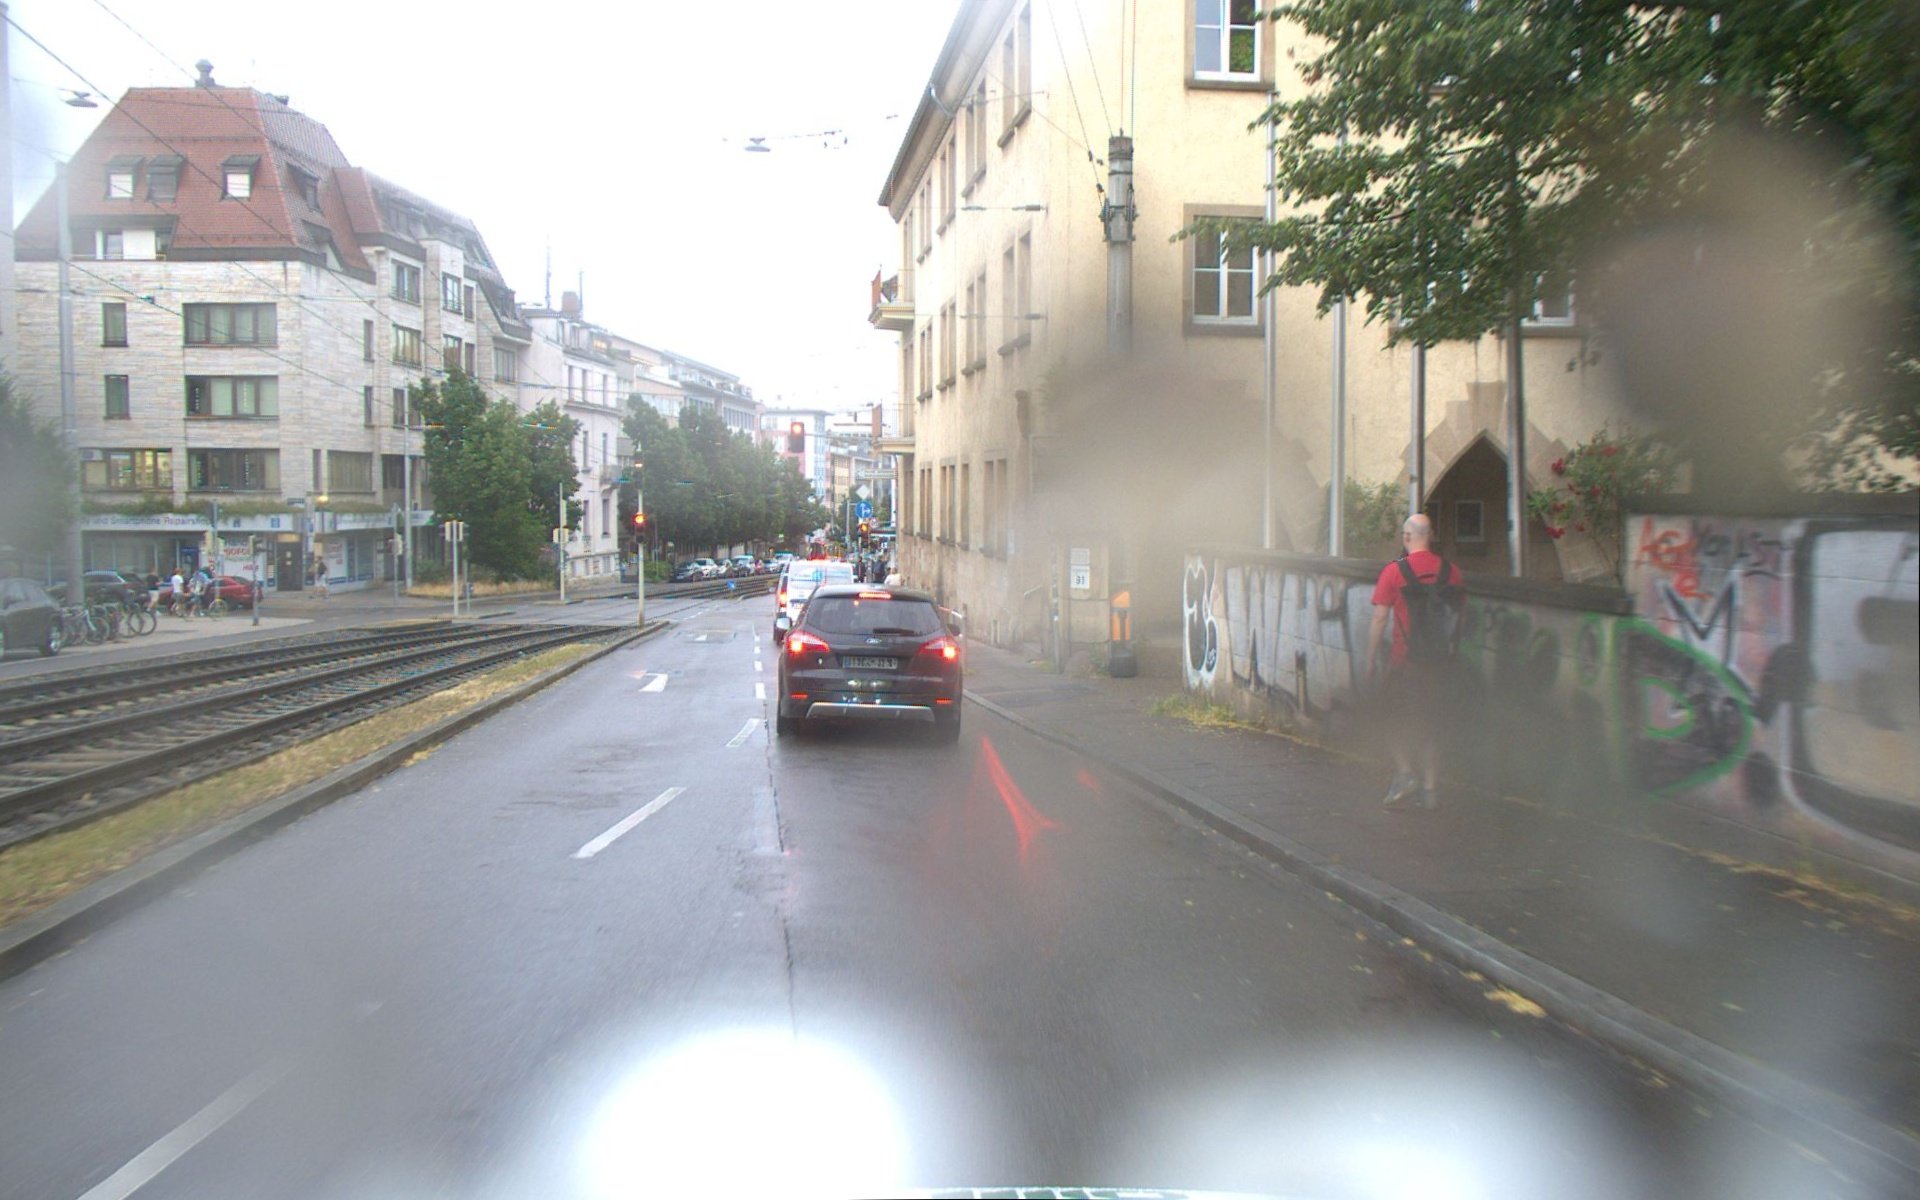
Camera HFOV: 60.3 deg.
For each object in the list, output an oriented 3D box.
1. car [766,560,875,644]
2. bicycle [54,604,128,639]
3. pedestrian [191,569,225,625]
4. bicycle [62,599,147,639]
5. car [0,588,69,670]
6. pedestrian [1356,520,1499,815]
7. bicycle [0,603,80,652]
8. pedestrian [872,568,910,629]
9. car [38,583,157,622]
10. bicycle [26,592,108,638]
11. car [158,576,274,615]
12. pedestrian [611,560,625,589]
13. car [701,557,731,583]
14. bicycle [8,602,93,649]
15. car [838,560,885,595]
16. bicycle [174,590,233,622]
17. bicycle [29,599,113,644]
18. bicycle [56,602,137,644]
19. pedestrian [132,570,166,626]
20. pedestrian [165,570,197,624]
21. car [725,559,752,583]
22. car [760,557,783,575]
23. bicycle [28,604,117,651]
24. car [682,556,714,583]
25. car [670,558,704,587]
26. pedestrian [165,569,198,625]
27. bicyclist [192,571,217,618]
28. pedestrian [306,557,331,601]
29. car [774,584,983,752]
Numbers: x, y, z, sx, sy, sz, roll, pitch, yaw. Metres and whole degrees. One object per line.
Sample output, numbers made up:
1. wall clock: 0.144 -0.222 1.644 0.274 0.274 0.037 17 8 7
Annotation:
1. car: -3.276 -0.009 38.036 2.098 1.775 4.208 -1 1 -10
2. bicycle: -22.642 0.555 43.126 1.623 0.881 0.566 0 1 -18
3. pedestrian: -27.779 -0.121 61.110 0.924 2.049 0.764 0 1 -7
4. bicycle: -22.883 0.510 44.265 1.917 1.045 0.718 0 1 -16
5. car: -19.225 0.561 32.380 1.877 1.530 4.227 -1 1 -10
6. pedestrian: 2.881 0.395 10.242 0.620 1.751 0.710 -1 0 -6
7. bicycle: -21.001 0.626 37.504 1.769 1.082 0.455 0 1 -18
8. pedestrian: -2.089 -0.047 49.918 1.025 1.826 0.900 0 1 -9
9. car: -36.357 0.098 69.769 4.047 1.596 1.824 0 1 2
10. bicycle: -22.208 0.371 41.149 1.775 1.127 0.451 0 1 -27
11. car: -31.244 -0.216 69.546 4.047 1.596 1.824 0 1 2
12. pedestrian: -24.222 -1.830 117.072 0.926 2.049 0.761 -1 1 -17
13. car: -19.892 -2.441 134.873 1.953 2.049 3.999 0 1 -2
14. bicycle: -21.695 0.615 39.471 1.734 1.090 0.485 1 1 -5
15. car: -5.105 -1.173 85.871 1.952 1.803 4.002 0 1 4
16. bicycle: -25.787 0.208 56.413 1.786 1.082 0.450 0 1 -41
17. bicycle: -21.718 0.522 40.436 1.771 1.082 0.454 0 1 -22
18. bicycle: -22.215 0.586 42.576 1.769 1.082 0.566 0 0 -20
19. pedestrian: -30.171 -0.089 61.553 0.925 2.049 0.763 0 1 -11
20. pedestrian: -29.641 -0.123 62.950 0.925 2.049 0.763 0 1 -11
21. car: -19.480 -2.544 145.580 1.953 2.049 3.999 0 1 -2
22. car: -18.085 -3.272 158.782 1.953 1.691 3.999 0 1 -2
23. bicycle: -20.722 0.636 38.644 1.771 1.082 0.454 0 1 -22
24. car: -20.236 -2.327 127.963 1.953 2.049 3.999 0 1 -2
25. car: -20.082 -2.023 121.896 1.953 2.049 3.999 0 1 -2
26. pedestrian: -28.761 -0.106 61.096 0.925 2.049 0.763 0 1 -11
27. bicyclist: -25.765 -0.198 56.425 0.696 1.601 0.455 0 1 -41
28. pedestrian: -28.555 -0.933 73.625 0.889 1.965 0.823 0 1 -11
29. car: -0.941 0.614 17.005 1.883 1.505 3.995 1 0 -6
